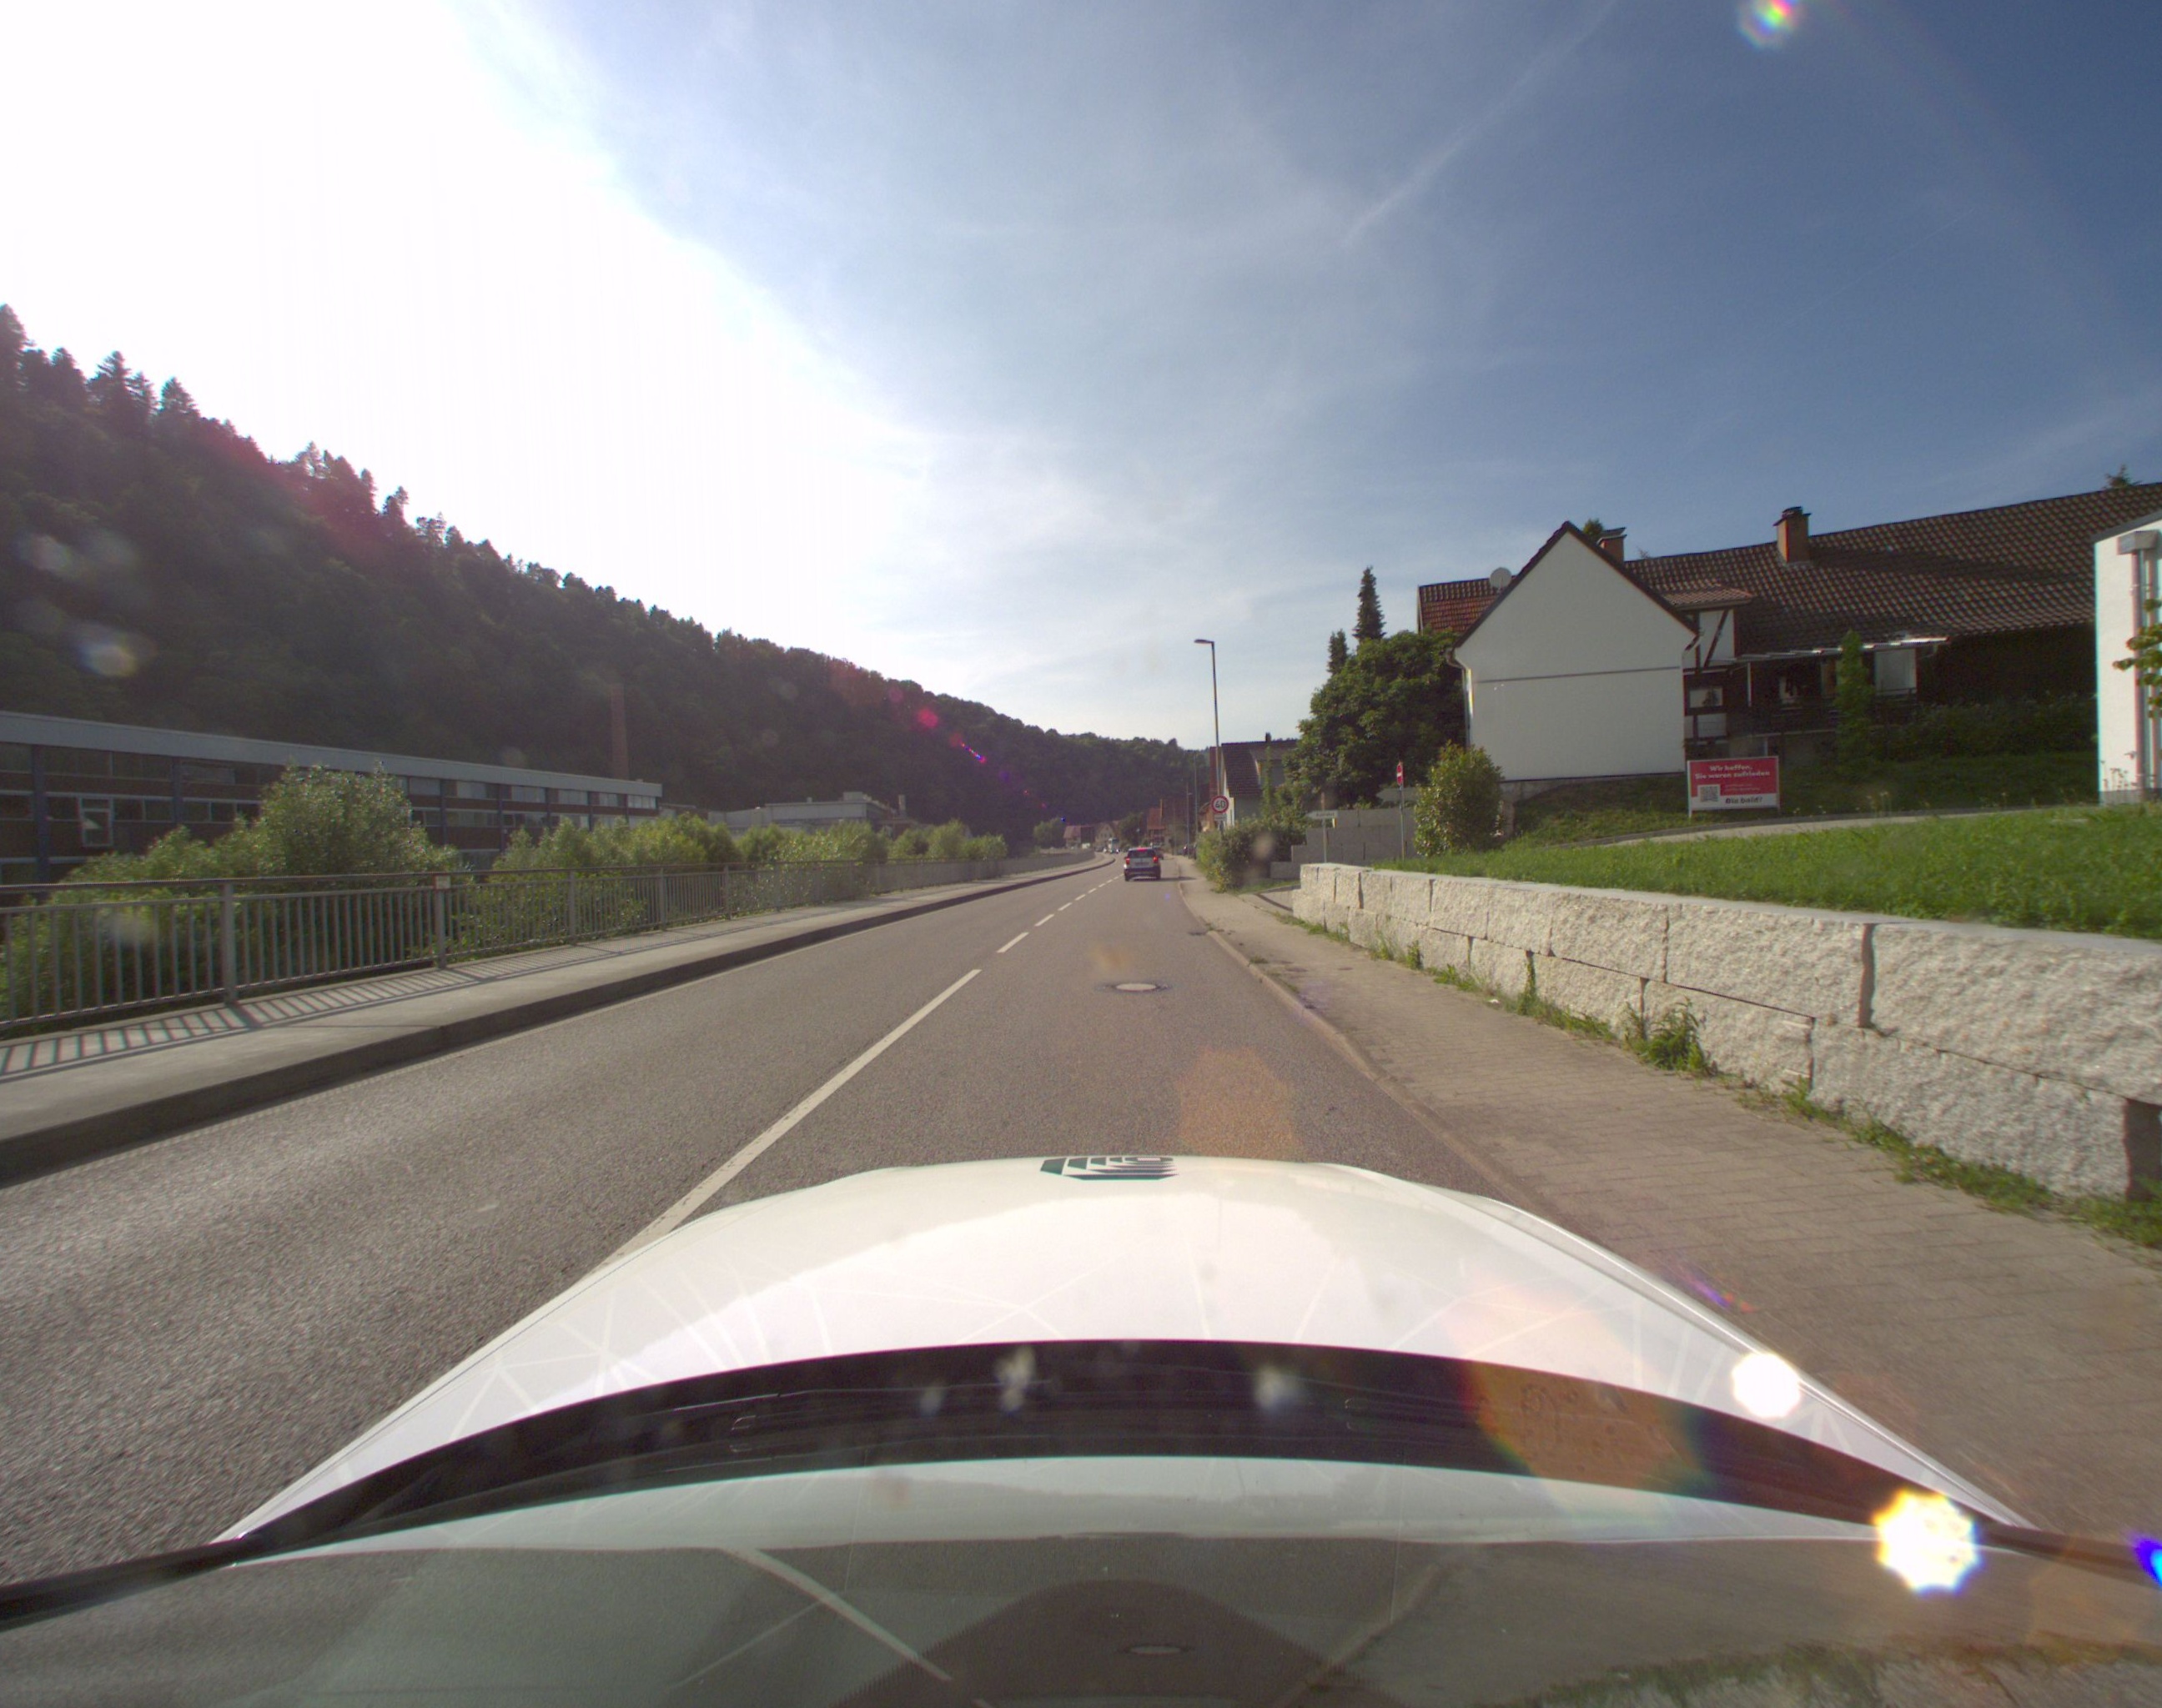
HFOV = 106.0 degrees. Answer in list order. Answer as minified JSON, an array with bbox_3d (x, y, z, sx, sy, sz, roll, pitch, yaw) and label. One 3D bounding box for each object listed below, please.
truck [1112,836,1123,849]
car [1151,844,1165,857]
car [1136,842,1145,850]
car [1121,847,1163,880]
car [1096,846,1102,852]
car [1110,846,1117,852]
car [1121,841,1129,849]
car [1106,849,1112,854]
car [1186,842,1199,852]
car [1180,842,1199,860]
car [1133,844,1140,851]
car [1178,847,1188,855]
[{"bbox_3d":[9.958,-3.287,222.615,2.718,3.374,6.483,-2,1,2],"label":"truck"},{"bbox_3d":[9.103,-0.405,96.138,1.614,1.541,3.283,-2,-1,5],"label":"car"},{"bbox_3d":[10.414,-1.420,142.527,1.358,1.278,3.086,-2,-1,4],"label":"car"},{"bbox_3d":[3.162,0.447,41.408,1.851,1.544,4.382,-2,0,7],"label":"car"},{"bbox_3d":[5.315,-1.466,242.674,1.744,1.544,3.998,-2,1,-1],"label":"car"},{"bbox_3d":[6.986,-1.085,176.865,1.428,1.383,3.135,-2,1,1],"label":"car"},{"bbox_3d":[10.405,-2.023,190.987,1.666,1.752,3.454,-2,1,6],"label":"car"},{"bbox_3d":[7.162,-0.647,207.332,1.359,1.278,3.084,-2,-1,2],"label":"car"},{"bbox_3d":[14.359,-0.917,104.617,1.535,1.216,3.285,-2,-1,8],"label":"car"},{"bbox_3d":[10.668,-0.292,80.149,1.600,1.646,3.661,-2,-1,10],"label":"car"},{"bbox_3d":[11.089,-1.348,162.418,1.358,1.278,3.085,-2,-1,3],"label":"car"},{"bbox_3d":[14.143,-0.367,112.402,1.289,0.974,2.928,-2,-1,8],"label":"car"}]
